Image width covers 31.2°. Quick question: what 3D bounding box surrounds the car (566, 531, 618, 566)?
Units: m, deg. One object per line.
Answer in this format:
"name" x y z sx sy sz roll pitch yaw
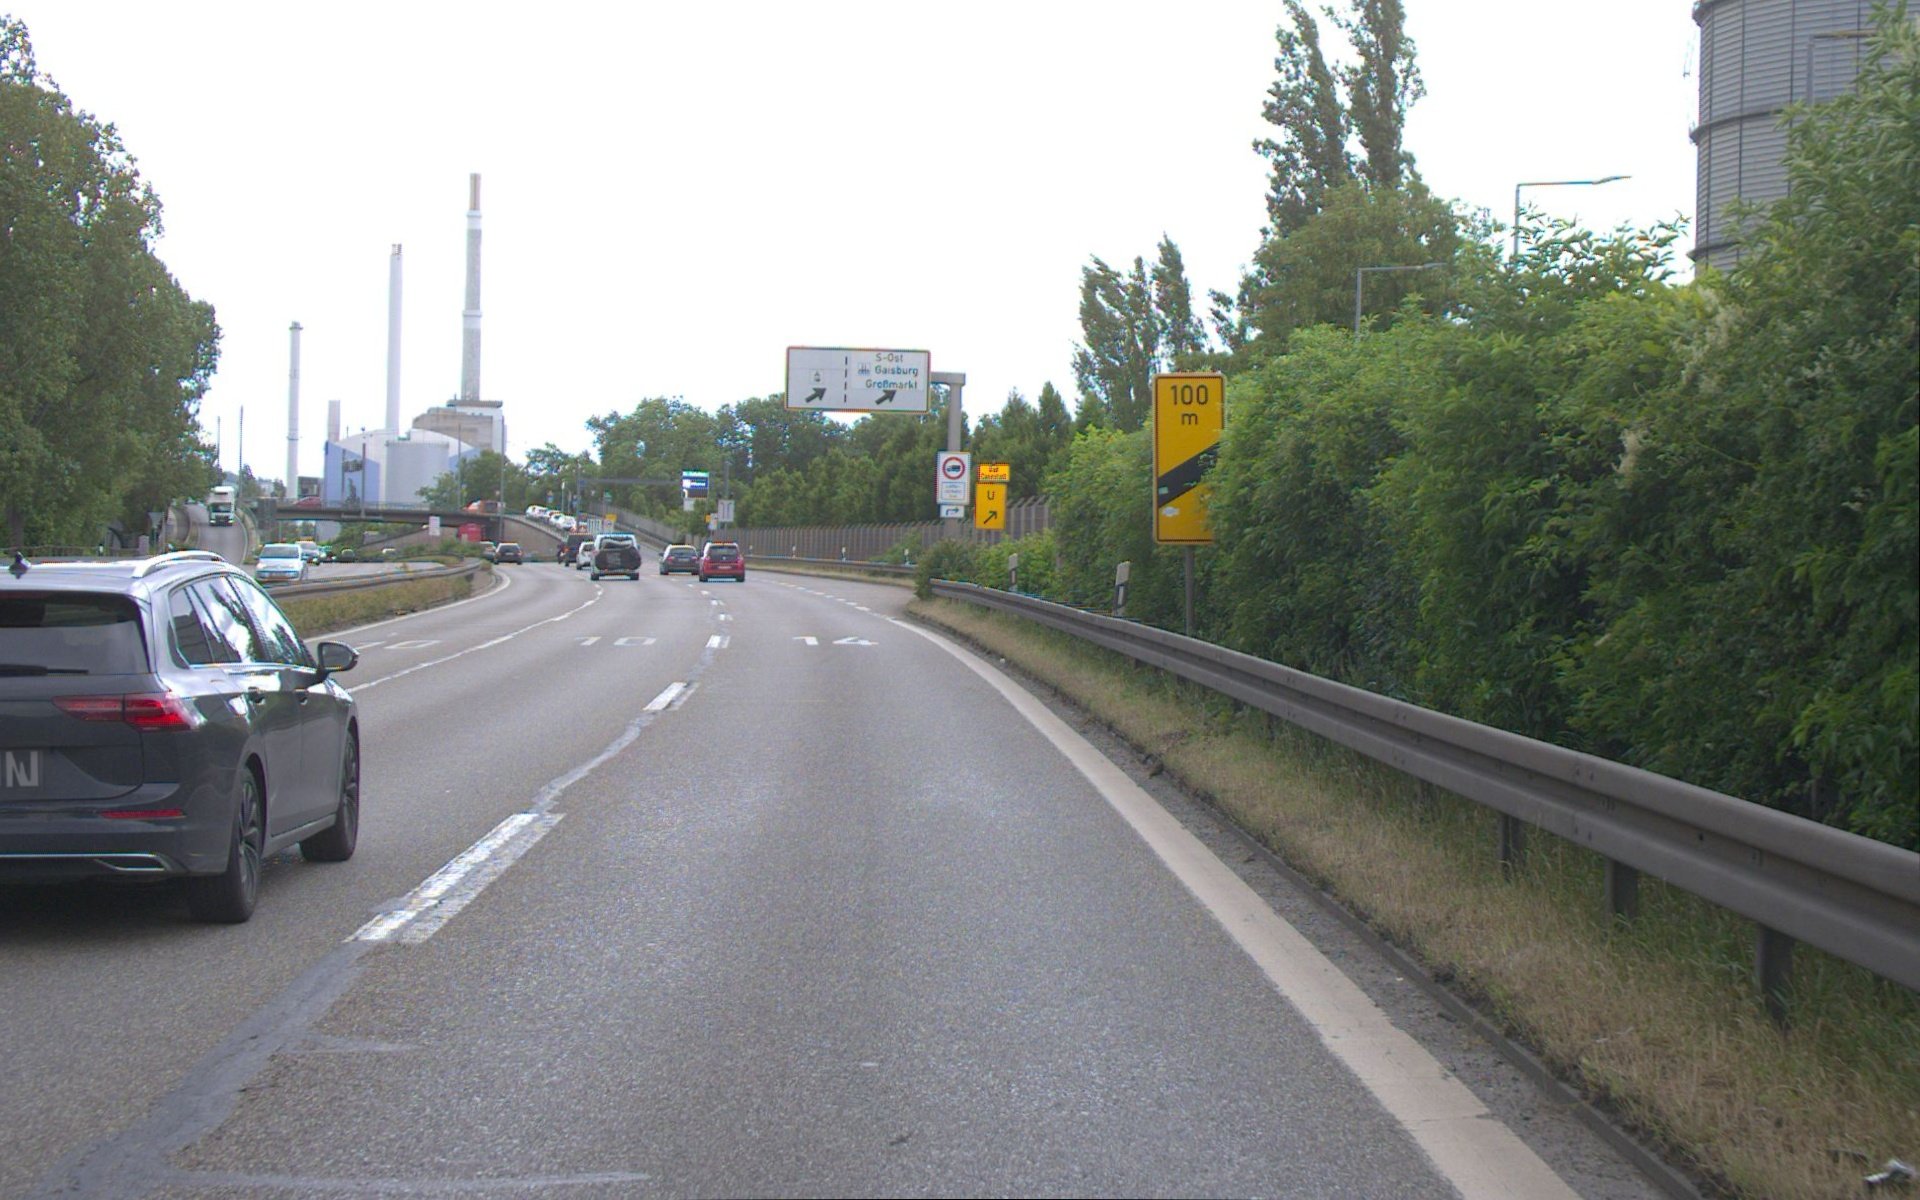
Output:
"car" -20.436 -2.852 190.629 2.013 1.927 4.902 0 1 -16

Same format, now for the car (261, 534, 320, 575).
"car" -23.489 -1.596 120.694 1.614 1.381 3.733 1 1 -4

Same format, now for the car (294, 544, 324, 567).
"car" -40.764 -2.769 215.315 1.697 1.408 4.639 0 1 -12

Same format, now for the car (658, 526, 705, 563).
"car" -13.280 -2.666 163.828 1.697 1.736 4.394 0 1 -12

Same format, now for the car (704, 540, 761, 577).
"car" -8.992 -1.656 135.495 1.974 1.418 4.902 0 1 -7

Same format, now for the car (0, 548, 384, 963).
"car" -3.693 0.524 14.769 1.844 1.418 4.901 2 1 -3

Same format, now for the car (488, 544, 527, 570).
"car" -29.781 -2.837 226.326 1.697 1.736 4.394 0 1 -19

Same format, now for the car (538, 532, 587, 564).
"car" -24.133 -3.139 208.536 2.013 1.927 4.902 0 1 -18

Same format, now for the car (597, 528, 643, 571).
"car" -13.937 -2.072 140.721 1.697 1.736 4.001 0 1 -8
